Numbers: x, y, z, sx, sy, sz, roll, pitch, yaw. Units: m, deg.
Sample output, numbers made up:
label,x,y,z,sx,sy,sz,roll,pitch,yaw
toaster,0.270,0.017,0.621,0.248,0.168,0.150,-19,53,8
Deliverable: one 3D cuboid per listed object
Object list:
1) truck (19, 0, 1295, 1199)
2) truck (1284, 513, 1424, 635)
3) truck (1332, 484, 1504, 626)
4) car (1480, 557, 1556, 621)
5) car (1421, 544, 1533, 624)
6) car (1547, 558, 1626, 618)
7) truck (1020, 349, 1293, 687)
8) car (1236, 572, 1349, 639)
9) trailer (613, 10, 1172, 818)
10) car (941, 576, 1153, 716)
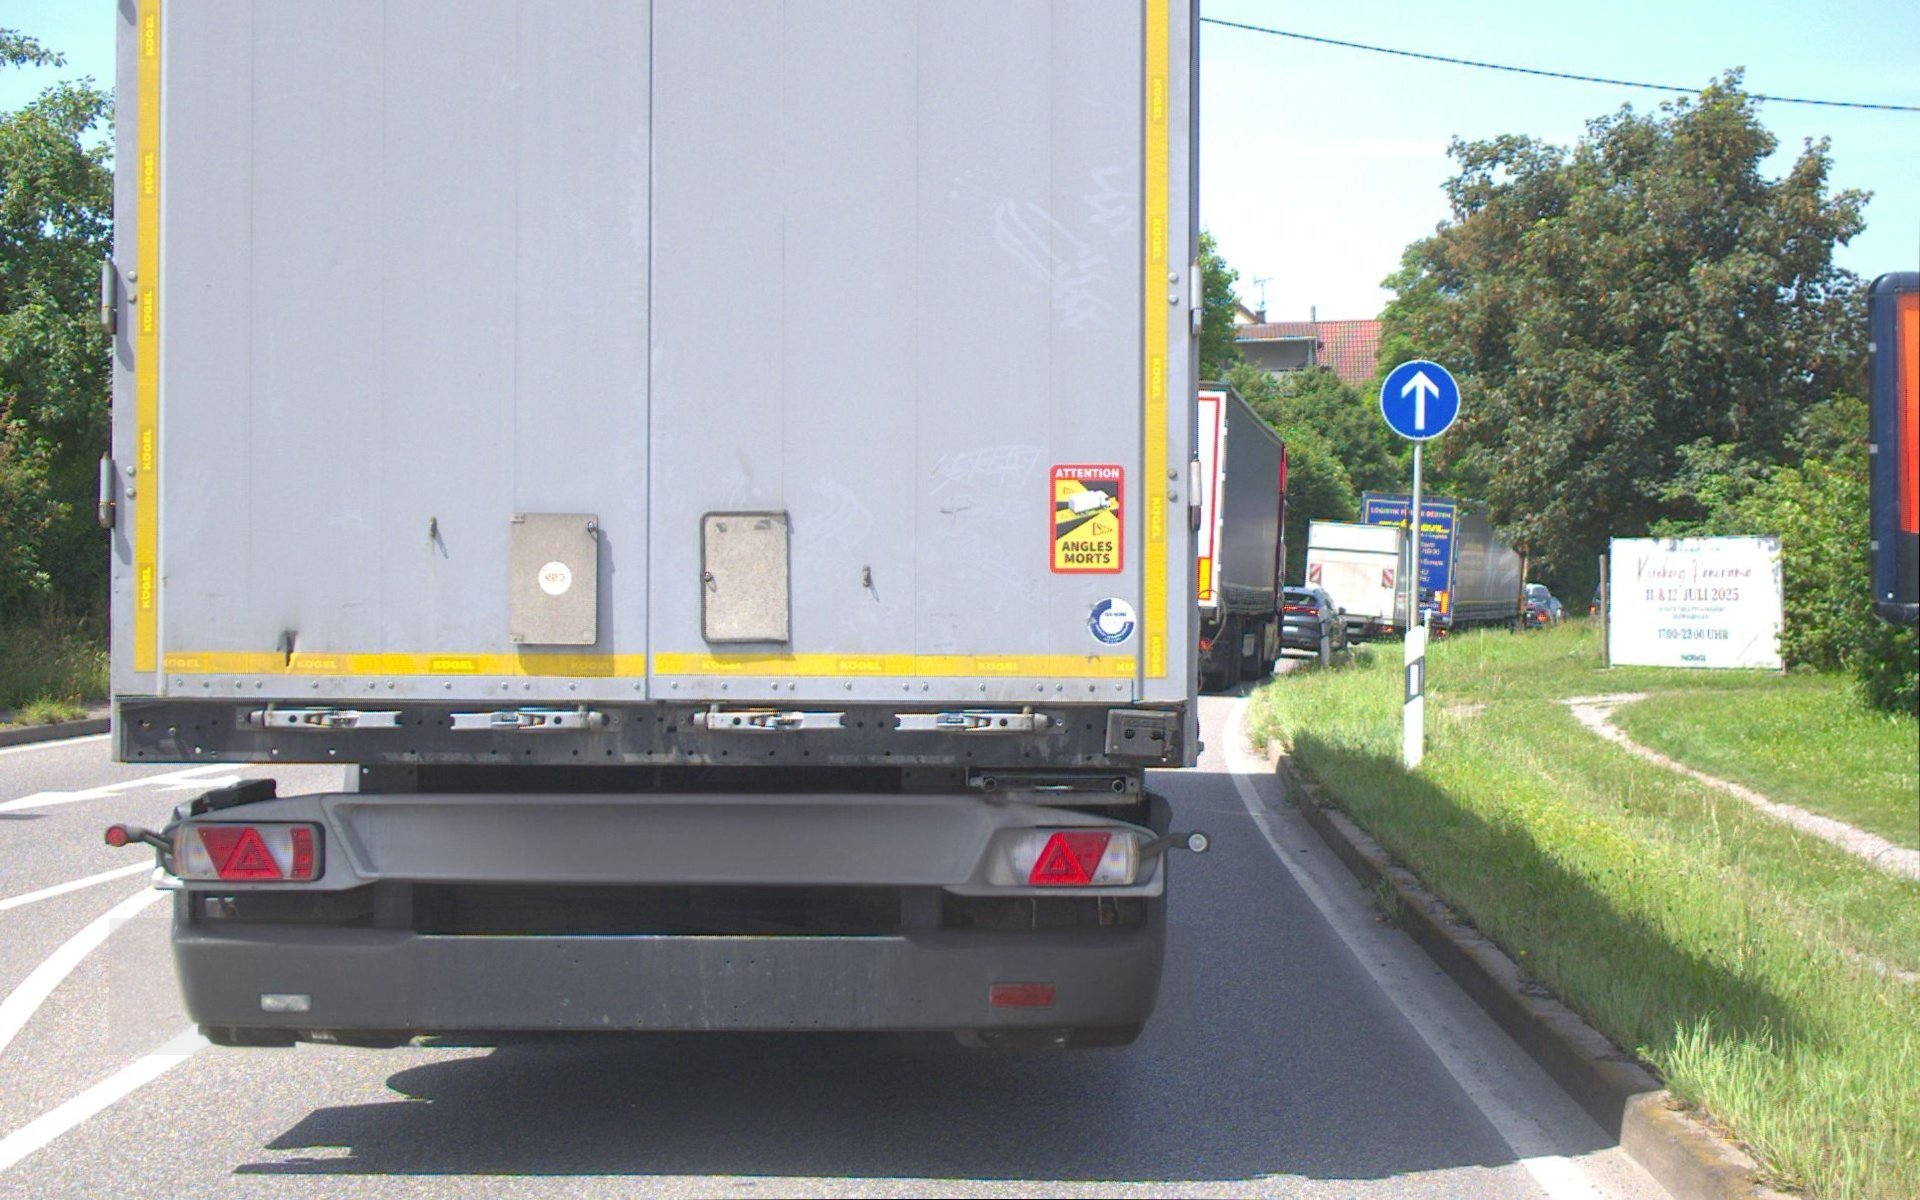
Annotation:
label,x,y,z,sx,sy,sz,roll,pitch,yaw
truck,-0.492,-0.850,13.378,2.822,4.113,11.443,1,1,2
truck,9.521,-0.607,82.626,2.545,2.793,6.028,1,0,14
truck,12.495,-1.257,93.022,3.435,3.592,9.347,1,1,15
car,17.988,-0.348,110.734,1.995,2.007,3.997,1,0,15
car,15.407,-0.506,102.182,2.533,2.269,6.376,1,1,15
car,21.683,-0.395,118.877,1.995,2.007,3.996,1,0,20
truck,3.286,-1.048,51.982,2.761,4.274,16.410,1,0,8
car,7.151,0.116,73.703,1.994,1.371,3.998,1,0,11
trailer,-0.254,-1.008,20.794,2.825,4.097,6.544,0,1,2
car,0.962,0.449,35.805,1.819,1.342,3.846,1,0,7
